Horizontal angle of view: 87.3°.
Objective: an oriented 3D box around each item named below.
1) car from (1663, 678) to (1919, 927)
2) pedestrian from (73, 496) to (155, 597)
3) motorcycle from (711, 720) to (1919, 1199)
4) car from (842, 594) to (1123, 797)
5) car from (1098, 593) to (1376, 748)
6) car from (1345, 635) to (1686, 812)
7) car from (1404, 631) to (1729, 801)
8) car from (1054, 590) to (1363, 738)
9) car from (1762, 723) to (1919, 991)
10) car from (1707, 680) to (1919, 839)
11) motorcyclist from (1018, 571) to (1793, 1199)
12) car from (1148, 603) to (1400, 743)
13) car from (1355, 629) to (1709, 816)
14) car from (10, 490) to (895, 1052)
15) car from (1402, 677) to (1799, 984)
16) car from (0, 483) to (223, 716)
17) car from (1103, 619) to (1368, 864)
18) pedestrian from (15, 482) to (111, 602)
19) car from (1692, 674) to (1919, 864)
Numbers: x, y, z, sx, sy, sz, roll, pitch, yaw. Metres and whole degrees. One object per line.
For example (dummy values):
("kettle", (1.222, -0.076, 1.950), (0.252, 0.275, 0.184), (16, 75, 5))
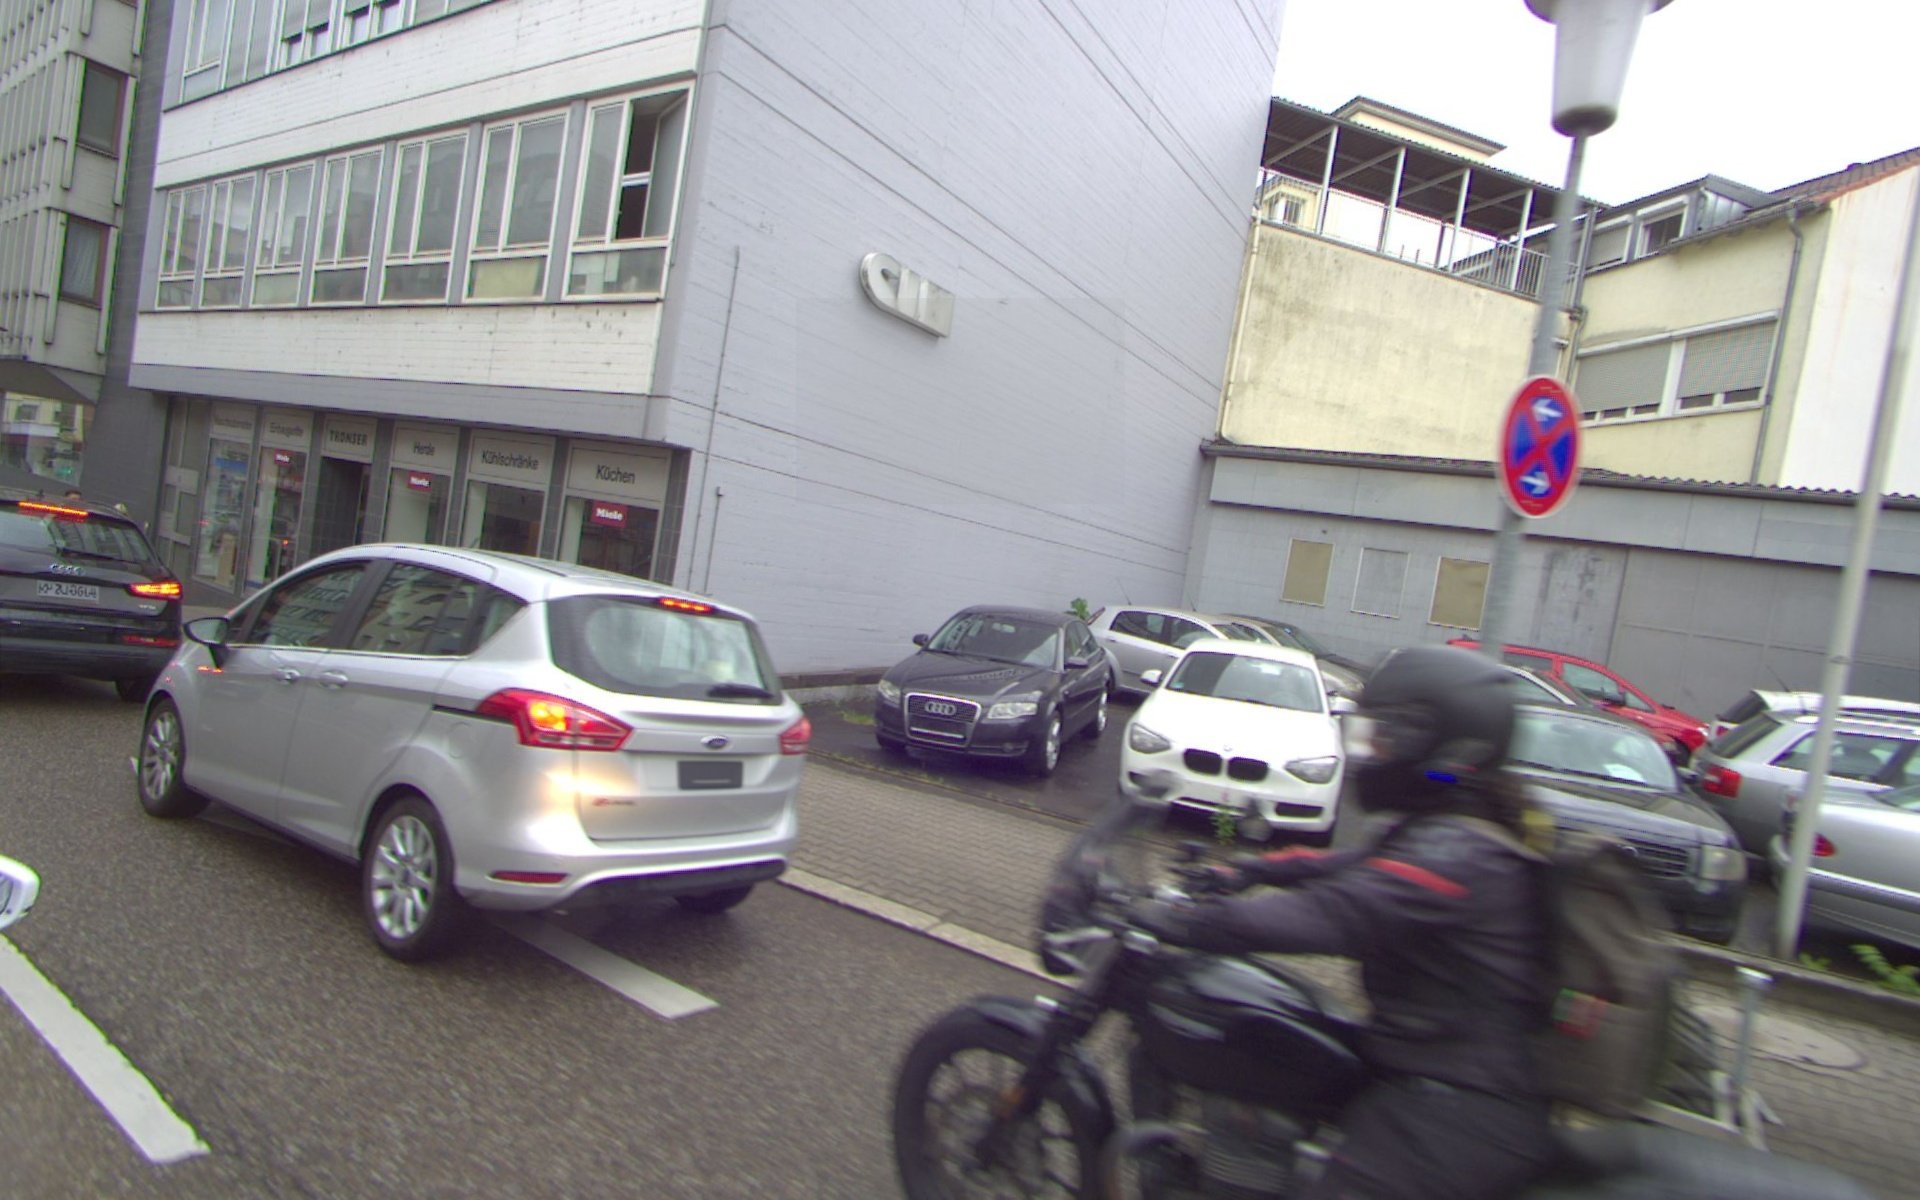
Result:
("car", (8.404, 1.810, 8.012), (4.420, 1.566, 1.786), (9, 5, 36))
("pedestrian", (-14.052, -0.878, 16.716), (0.876, 1.572, 0.765), (7, 3, 32))
("motorcycle", (0.747, 1.032, 1.855), (2.333, 1.239, 0.847), (7, -2, 30))
("car", (0.458, 0.792, 10.594), (1.765, 1.470, 3.995), (7, 3, 18))
("car", (4.521, 1.099, 16.632), (3.887, 1.922, 1.789), (7, 0, 36))
("car", (7.801, 1.633, 14.302), (3.887, 1.752, 1.789), (7, 0, 36))
("car", (9.492, 1.724, 15.967), (4.041, 1.934, 1.789), (7, 0, 36))
("car", (3.569, 0.847, 14.711), (3.887, 1.543, 1.787), (7, 2, 36))
("car", (7.574, 1.823, 5.705), (4.545, 1.434, 1.787), (7, 1, 37))
("car", (12.791, 2.249, 13.775), (3.887, 1.752, 1.789), (7, 0, 36))
("motorcyclist", (0.749, 0.843, 1.874), (0.946, 1.607, 0.847), (7, -2, 29))
("car", (5.709, 1.275, 18.447), (3.887, 1.934, 1.789), (7, 0, 36))
("car", (7.027, 1.374, 12.517), (3.464, 1.622, 1.787), (7, 3, 36))
("car", (-2.643, 0.520, 4.997), (4.181, 1.558, 1.831), (7, -3, 31))
("car", (4.556, 1.468, 7.832), (1.640, 1.418, 4.000), (7, 0, 20))
("car", (-8.148, -0.160, 8.379), (4.134, 1.577, 1.826), (6, -3, 34))
("car", (2.631, 1.106, 9.337), (1.730, 1.548, 4.000), (7, 0, 19))
("pedestrian", (-13.797, -0.891, 15.474), (1.102, 1.729, 0.783), (7, 3, 32))
("car", (10.321, 1.884, 10.324), (4.350, 1.620, 1.789), (7, 0, 36))
